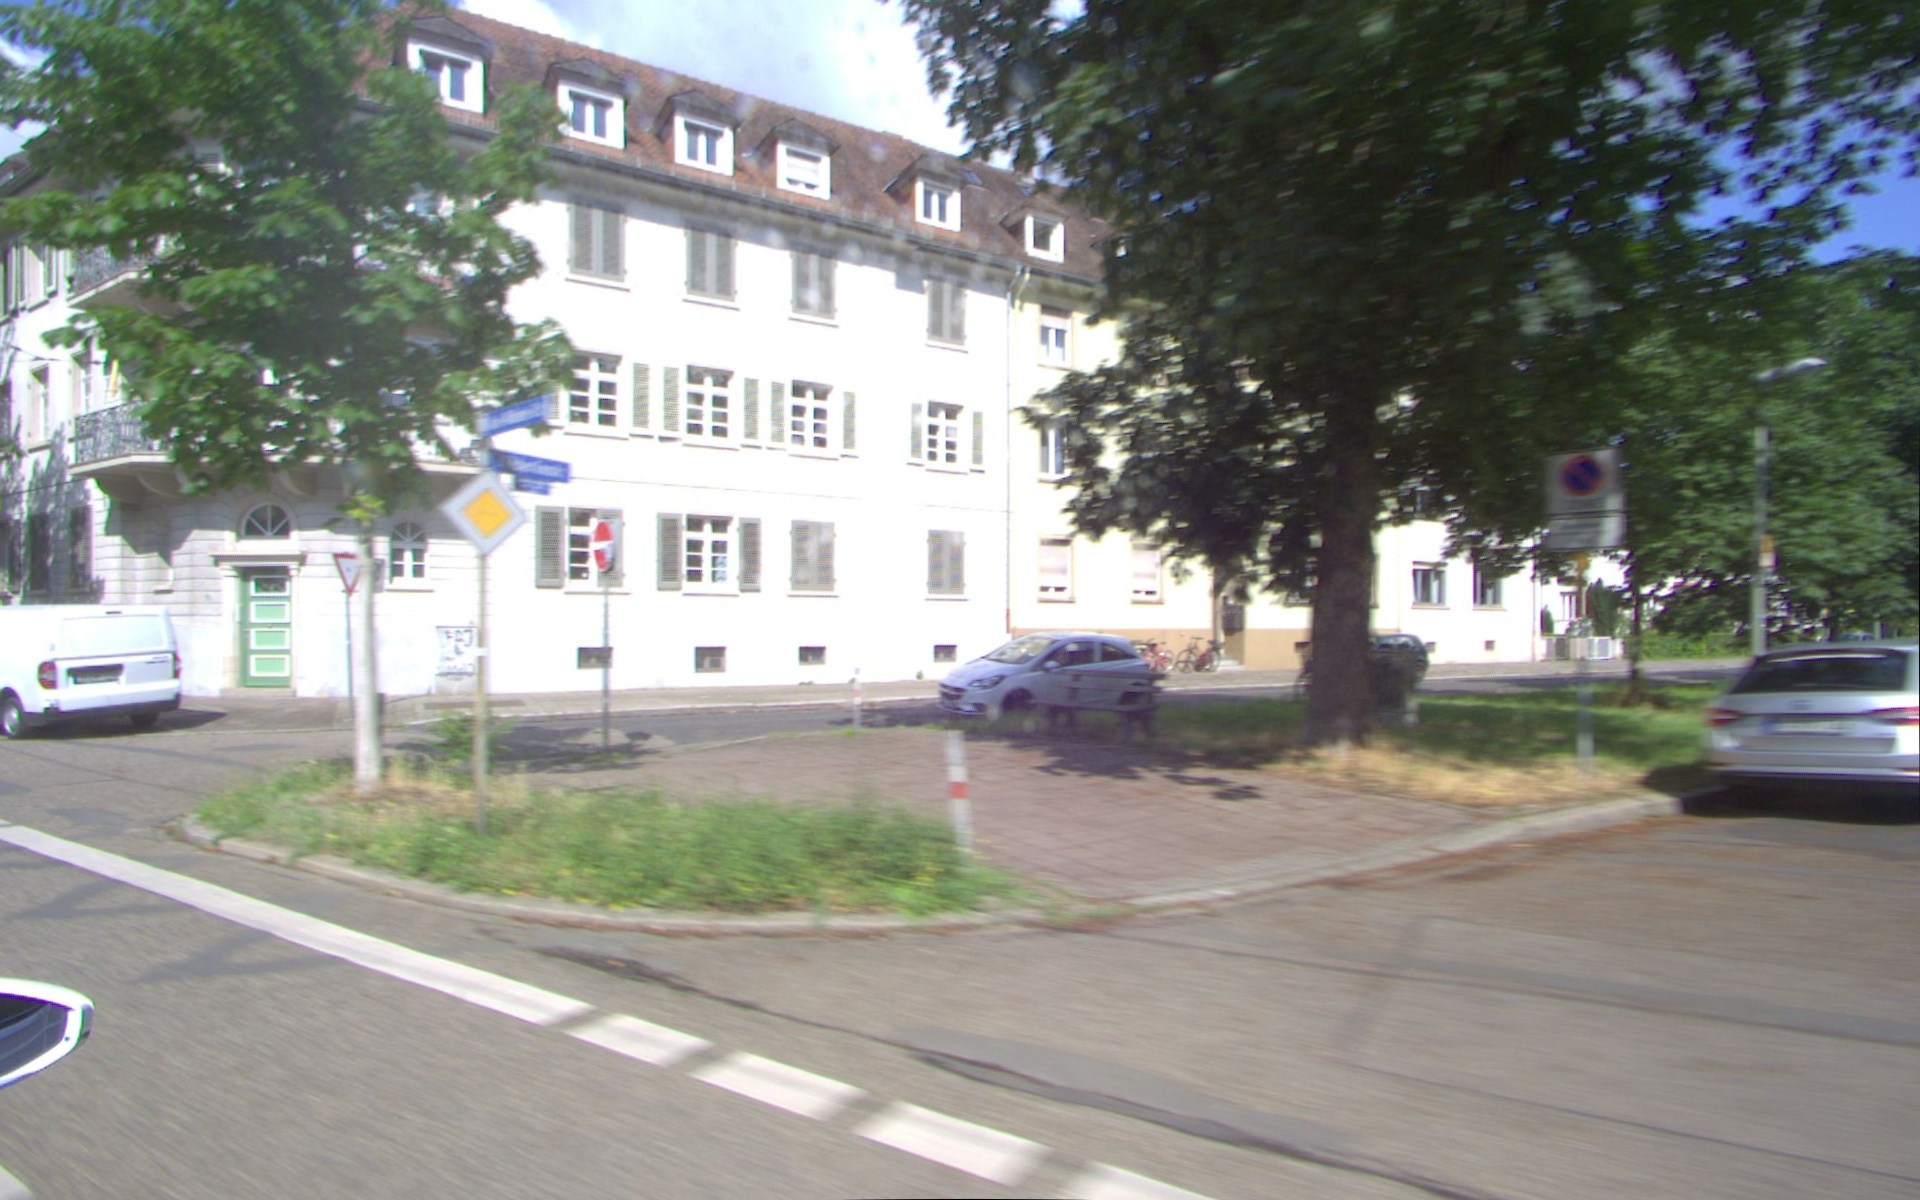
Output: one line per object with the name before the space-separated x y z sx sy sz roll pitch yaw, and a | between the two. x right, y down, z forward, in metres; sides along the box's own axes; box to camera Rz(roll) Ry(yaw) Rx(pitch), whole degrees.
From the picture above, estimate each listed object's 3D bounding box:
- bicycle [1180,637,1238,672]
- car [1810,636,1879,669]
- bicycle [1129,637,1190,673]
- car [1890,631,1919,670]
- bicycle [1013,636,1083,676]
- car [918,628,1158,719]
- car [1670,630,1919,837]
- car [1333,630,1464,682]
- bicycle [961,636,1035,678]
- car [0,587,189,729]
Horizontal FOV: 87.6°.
bicycle | 7.737 1.664 31.011 2.108 1.047 0.533 1 -1 -37
car | 44.292 2.613 50.126 3.820 1.577 1.701 1 -1 -34
bicycle | 5.952 1.622 29.792 2.108 1.047 0.533 1 -1 -37
car | 41.114 2.125 42.387 3.820 1.577 1.701 1 -1 -33
bicycle | 2.437 1.529 27.508 2.108 1.047 0.533 1 -1 -37
car | 1.394 1.211 17.428 3.943 1.429 1.644 1 -2 -30
car | 8.517 1.027 8.990 4.511 1.494 1.859 1 -2 -31
car | 13.335 1.673 30.446 3.814 1.373 1.688 1 2 -30
bicycle | 1.025 1.502 26.682 2.108 1.047 0.533 1 -1 -37
car | -14.468 0.822 15.698 4.910 1.964 1.787 0 -1 26
